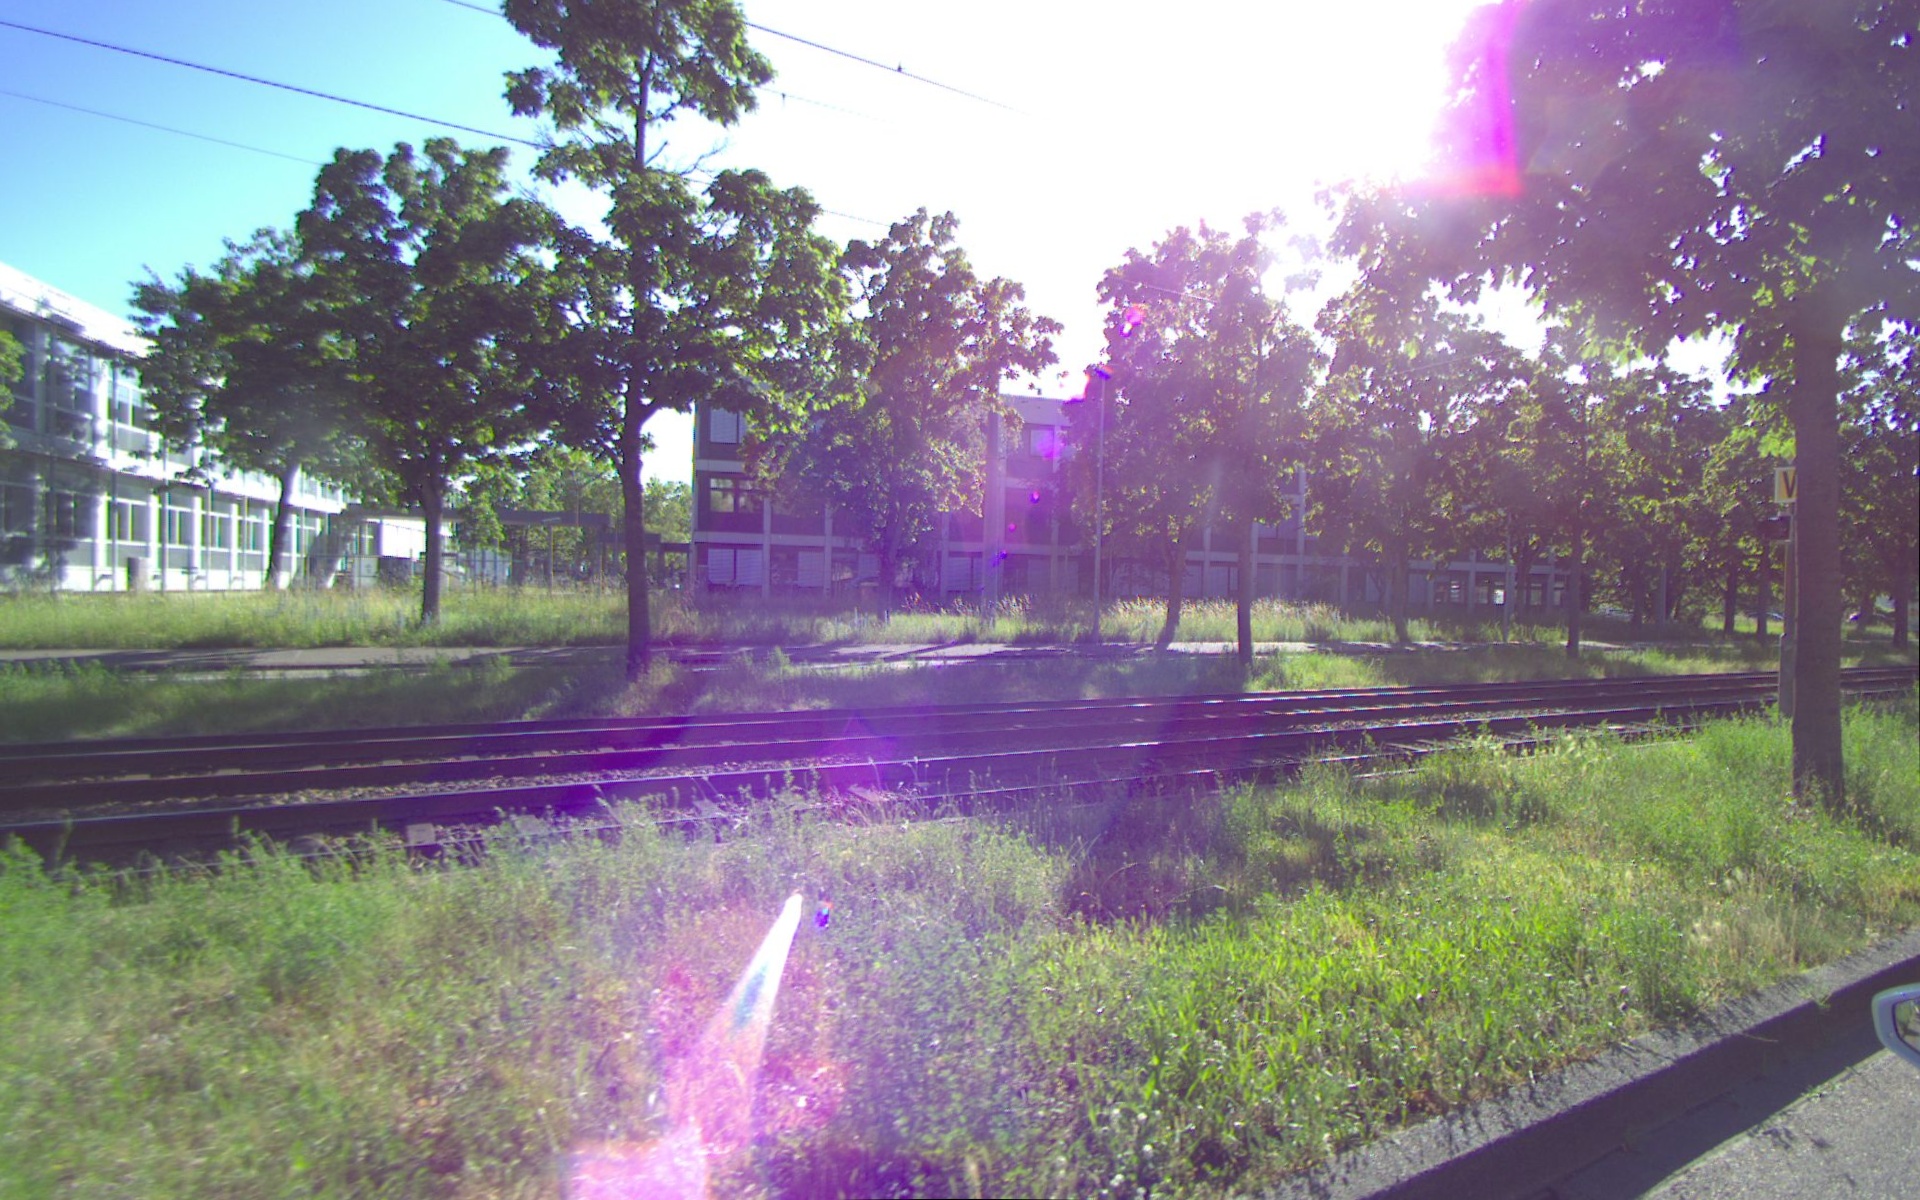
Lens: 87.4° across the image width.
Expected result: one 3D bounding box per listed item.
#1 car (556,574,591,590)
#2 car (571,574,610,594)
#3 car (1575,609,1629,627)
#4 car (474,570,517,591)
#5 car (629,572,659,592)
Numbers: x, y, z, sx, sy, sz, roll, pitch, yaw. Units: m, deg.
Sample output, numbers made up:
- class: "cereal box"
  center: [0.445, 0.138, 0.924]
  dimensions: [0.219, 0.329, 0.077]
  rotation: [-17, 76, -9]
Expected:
- class: "car"
  center: [-30.640, -1.432, 79.779]
  dimensions: [1.815, 1.247, 4.539]
  rotation: [2, 1, -12]
- class: "car"
  center: [-25.585, -1.123, 69.712]
  dimensions: [1.815, 1.284, 4.539]
  rotation: [2, 1, -12]
- class: "car"
  center: [65.009, 1.840, 101.805]
  dimensions: [4.348, 1.662, 1.988]
  rotation: [2, 0, 26]
- class: "car"
  center: [-30.391, -1.286, 65.821]
  dimensions: [1.603, 1.259, 4.215]
  rotation: [2, 1, -12]
- class: "car"
  center: [-25.386, -1.421, 80.882]
  dimensions: [1.815, 1.513, 4.539]
  rotation: [2, 1, -11]
